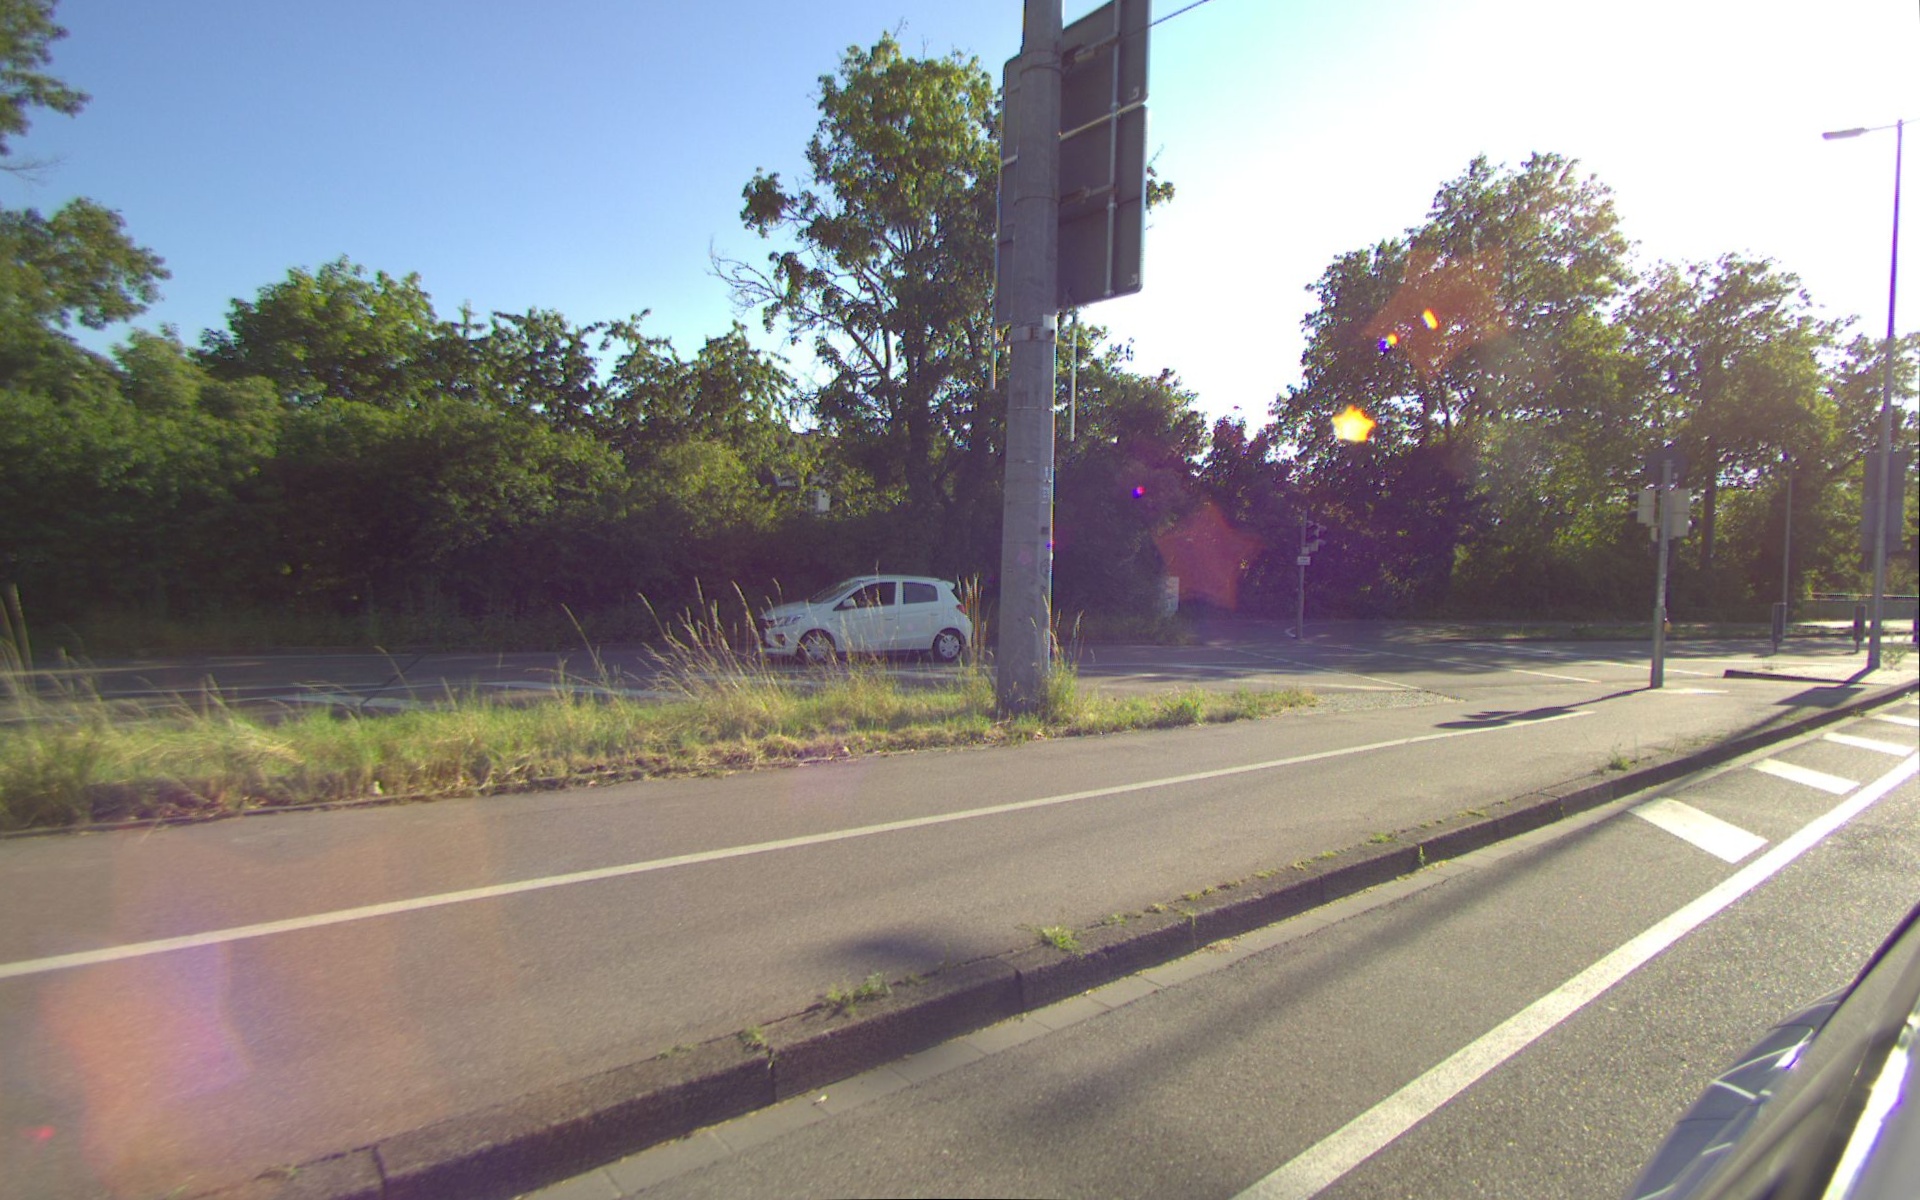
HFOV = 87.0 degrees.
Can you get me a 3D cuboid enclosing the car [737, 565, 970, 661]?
[{"bbox_3d":[-1.851,0.195,17.619,3.666,1.491,1.676,1,2,-25],"label":"car"}]
